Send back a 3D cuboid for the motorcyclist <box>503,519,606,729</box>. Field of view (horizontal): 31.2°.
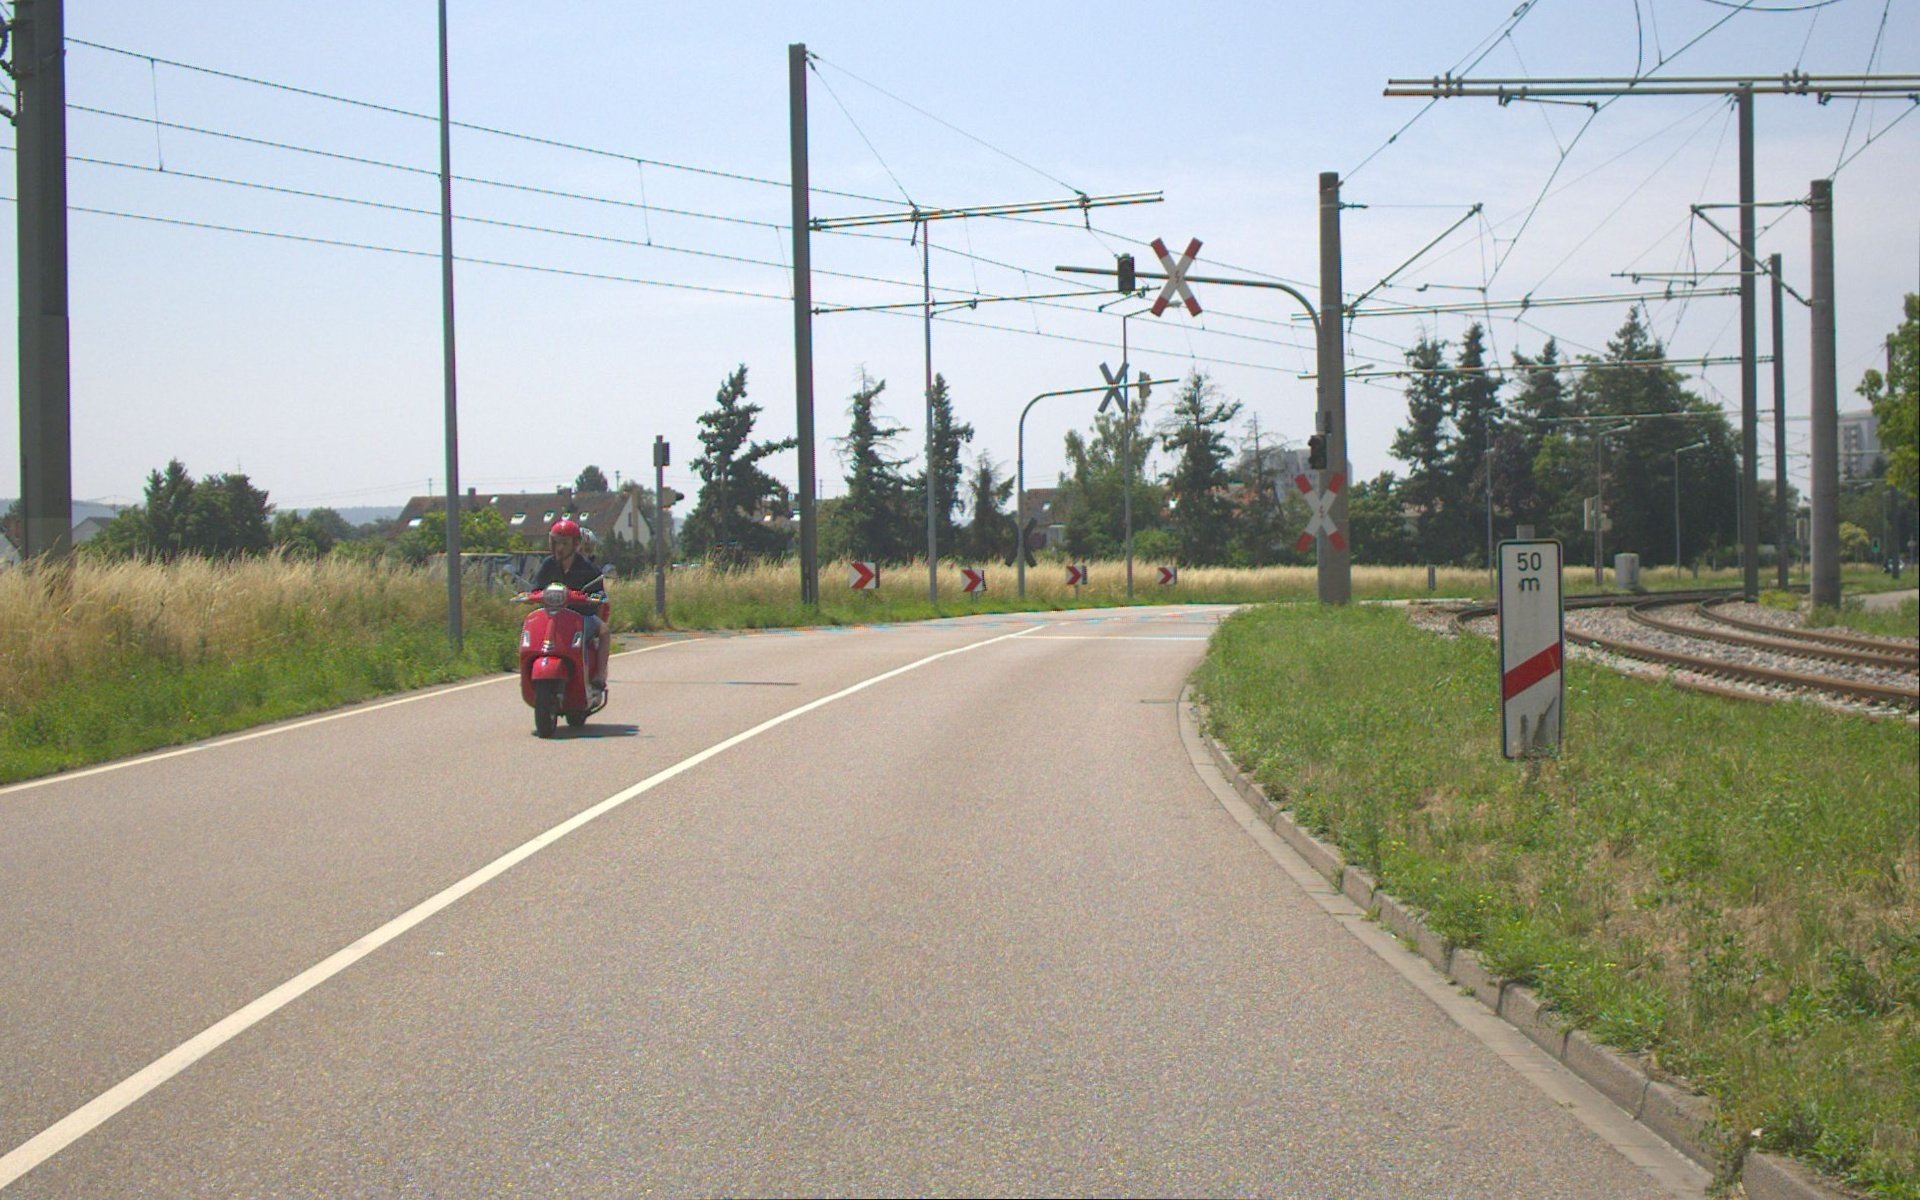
[{"bbox_3d":[-3.155,0.177,26.781,0.688,1.580,0.670,-1,3,0],"label":"motorcyclist"}]

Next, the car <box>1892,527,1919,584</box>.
[{"bbox_3d":[33.333,-1.519,117.870,2.038,1.875,5.063,-1,-1,22],"label":"car"}]

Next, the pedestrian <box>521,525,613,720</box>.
[{"bbox_3d":[-3.140,0.172,27.482,0.642,1.531,0.577,-1,2,0],"label":"pedestrian"}]

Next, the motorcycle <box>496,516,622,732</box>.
[{"bbox_3d":[-3.129,0.153,27.008,0.704,1.580,2.147,-1,2,0],"label":"motorcycle"}]
